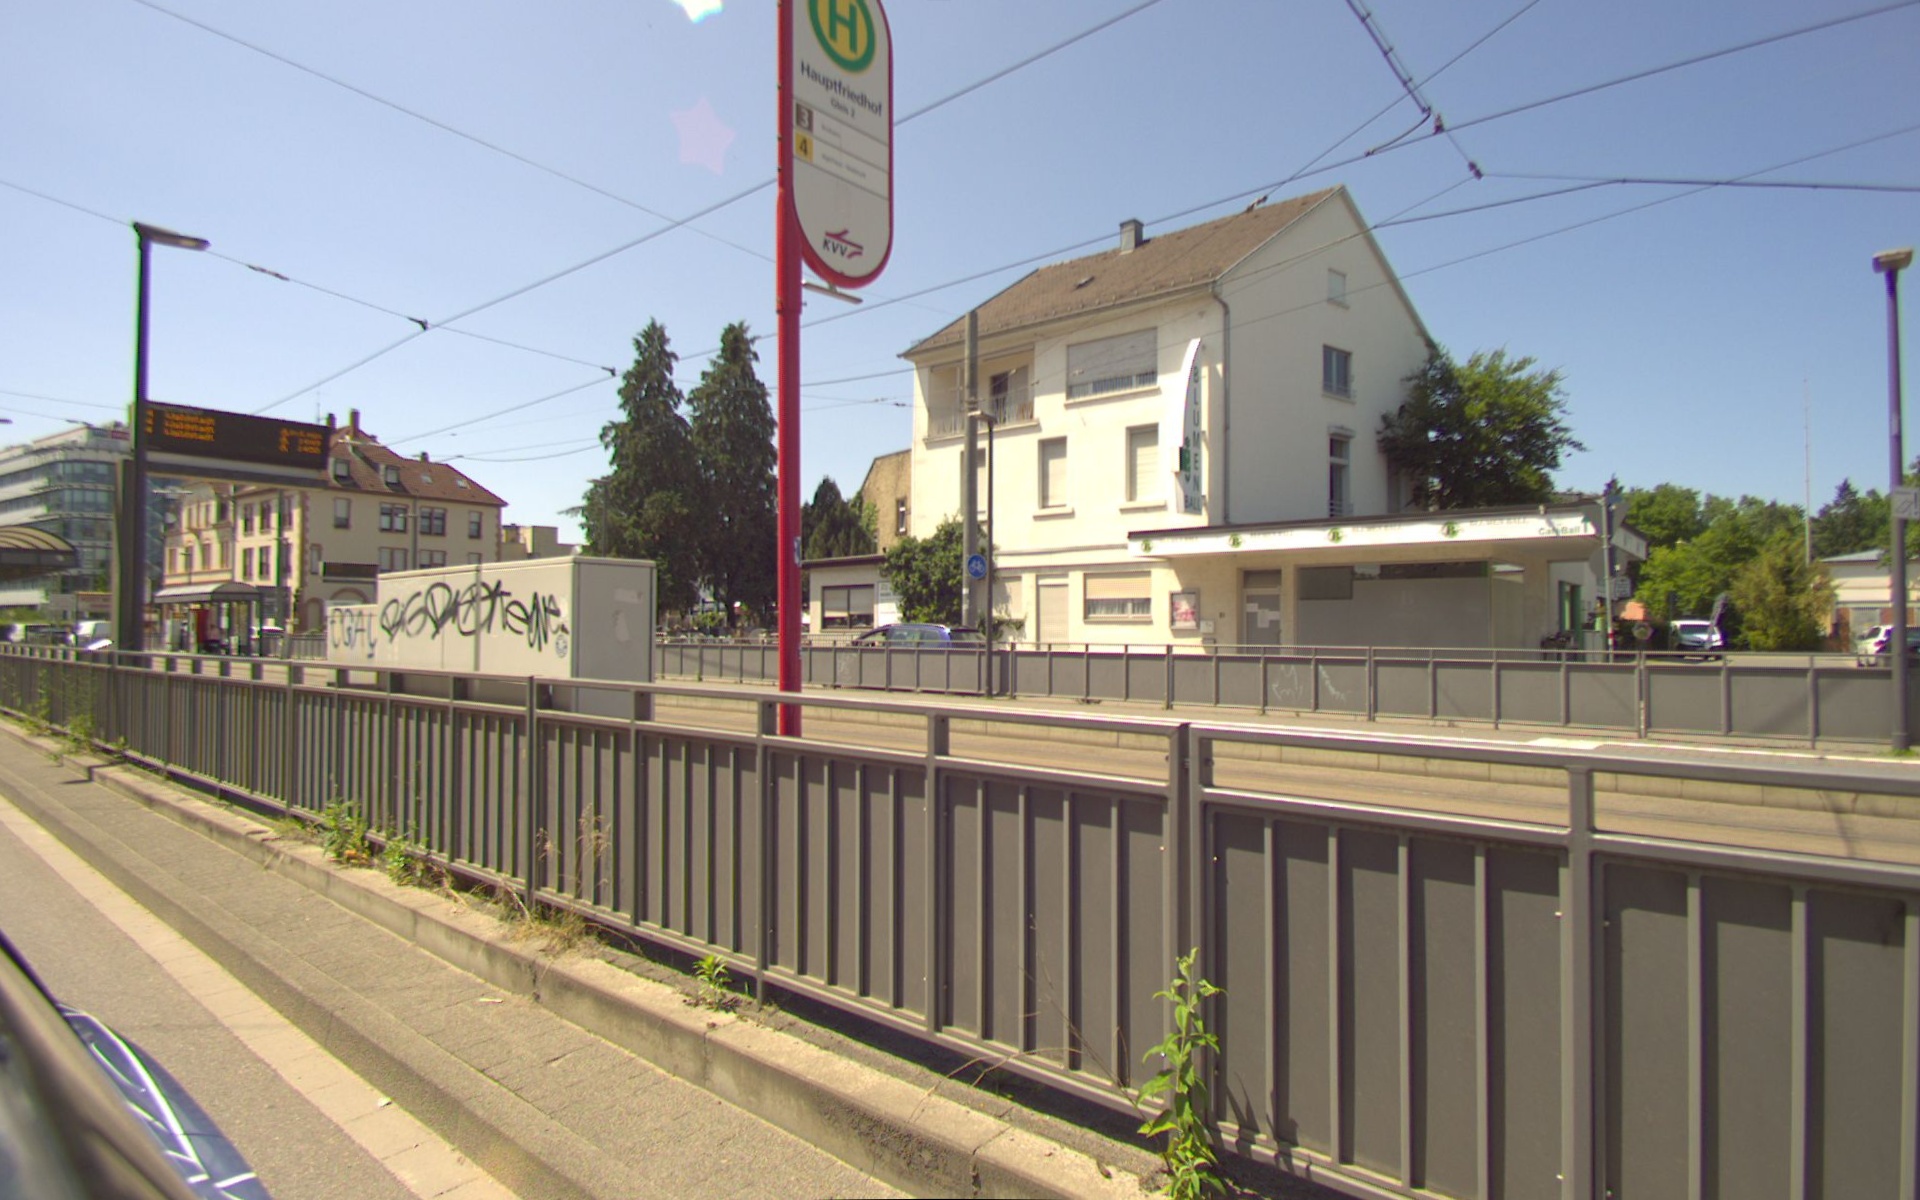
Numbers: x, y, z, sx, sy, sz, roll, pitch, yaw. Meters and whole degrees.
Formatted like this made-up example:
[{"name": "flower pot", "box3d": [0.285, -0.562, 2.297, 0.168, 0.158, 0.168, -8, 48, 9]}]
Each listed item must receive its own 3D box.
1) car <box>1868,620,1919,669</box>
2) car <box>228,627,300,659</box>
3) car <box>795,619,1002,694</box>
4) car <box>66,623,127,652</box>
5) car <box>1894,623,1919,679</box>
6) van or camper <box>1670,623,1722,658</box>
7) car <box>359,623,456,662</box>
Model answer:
[{"name": "car", "box3d": [29.643, 1.416, 31.719, 1.644, 1.457, 3.761, -2, -3, 41]}, {"name": "car", "box3d": [-33.839, 2.079, 49.171, 4.622, 1.479, 1.798, -2, -3, 42]}, {"name": "car", "box3d": [-1.404, 1.163, 21.817, 4.476, 1.453, 1.837, -2, -2, 41]}, {"name": "car", "box3d": [-56.357, 2.475, 66.059, 4.686, 1.830, 1.840, -1, -3, 35]}, {"name": "car", "box3d": [25.644, 1.345, 26.481, 1.644, 1.381, 3.760, -2, -3, 42]}, {"name": "van or camper", "box3d": [34.756, 1.904, 47.881, 1.686, 1.578, 3.784, -1, -2, 32]}, {"name": "car", "box3d": [-21.209, 1.611, 38.788, 4.170, 1.406, 1.800, -1, -3, 39]}]
